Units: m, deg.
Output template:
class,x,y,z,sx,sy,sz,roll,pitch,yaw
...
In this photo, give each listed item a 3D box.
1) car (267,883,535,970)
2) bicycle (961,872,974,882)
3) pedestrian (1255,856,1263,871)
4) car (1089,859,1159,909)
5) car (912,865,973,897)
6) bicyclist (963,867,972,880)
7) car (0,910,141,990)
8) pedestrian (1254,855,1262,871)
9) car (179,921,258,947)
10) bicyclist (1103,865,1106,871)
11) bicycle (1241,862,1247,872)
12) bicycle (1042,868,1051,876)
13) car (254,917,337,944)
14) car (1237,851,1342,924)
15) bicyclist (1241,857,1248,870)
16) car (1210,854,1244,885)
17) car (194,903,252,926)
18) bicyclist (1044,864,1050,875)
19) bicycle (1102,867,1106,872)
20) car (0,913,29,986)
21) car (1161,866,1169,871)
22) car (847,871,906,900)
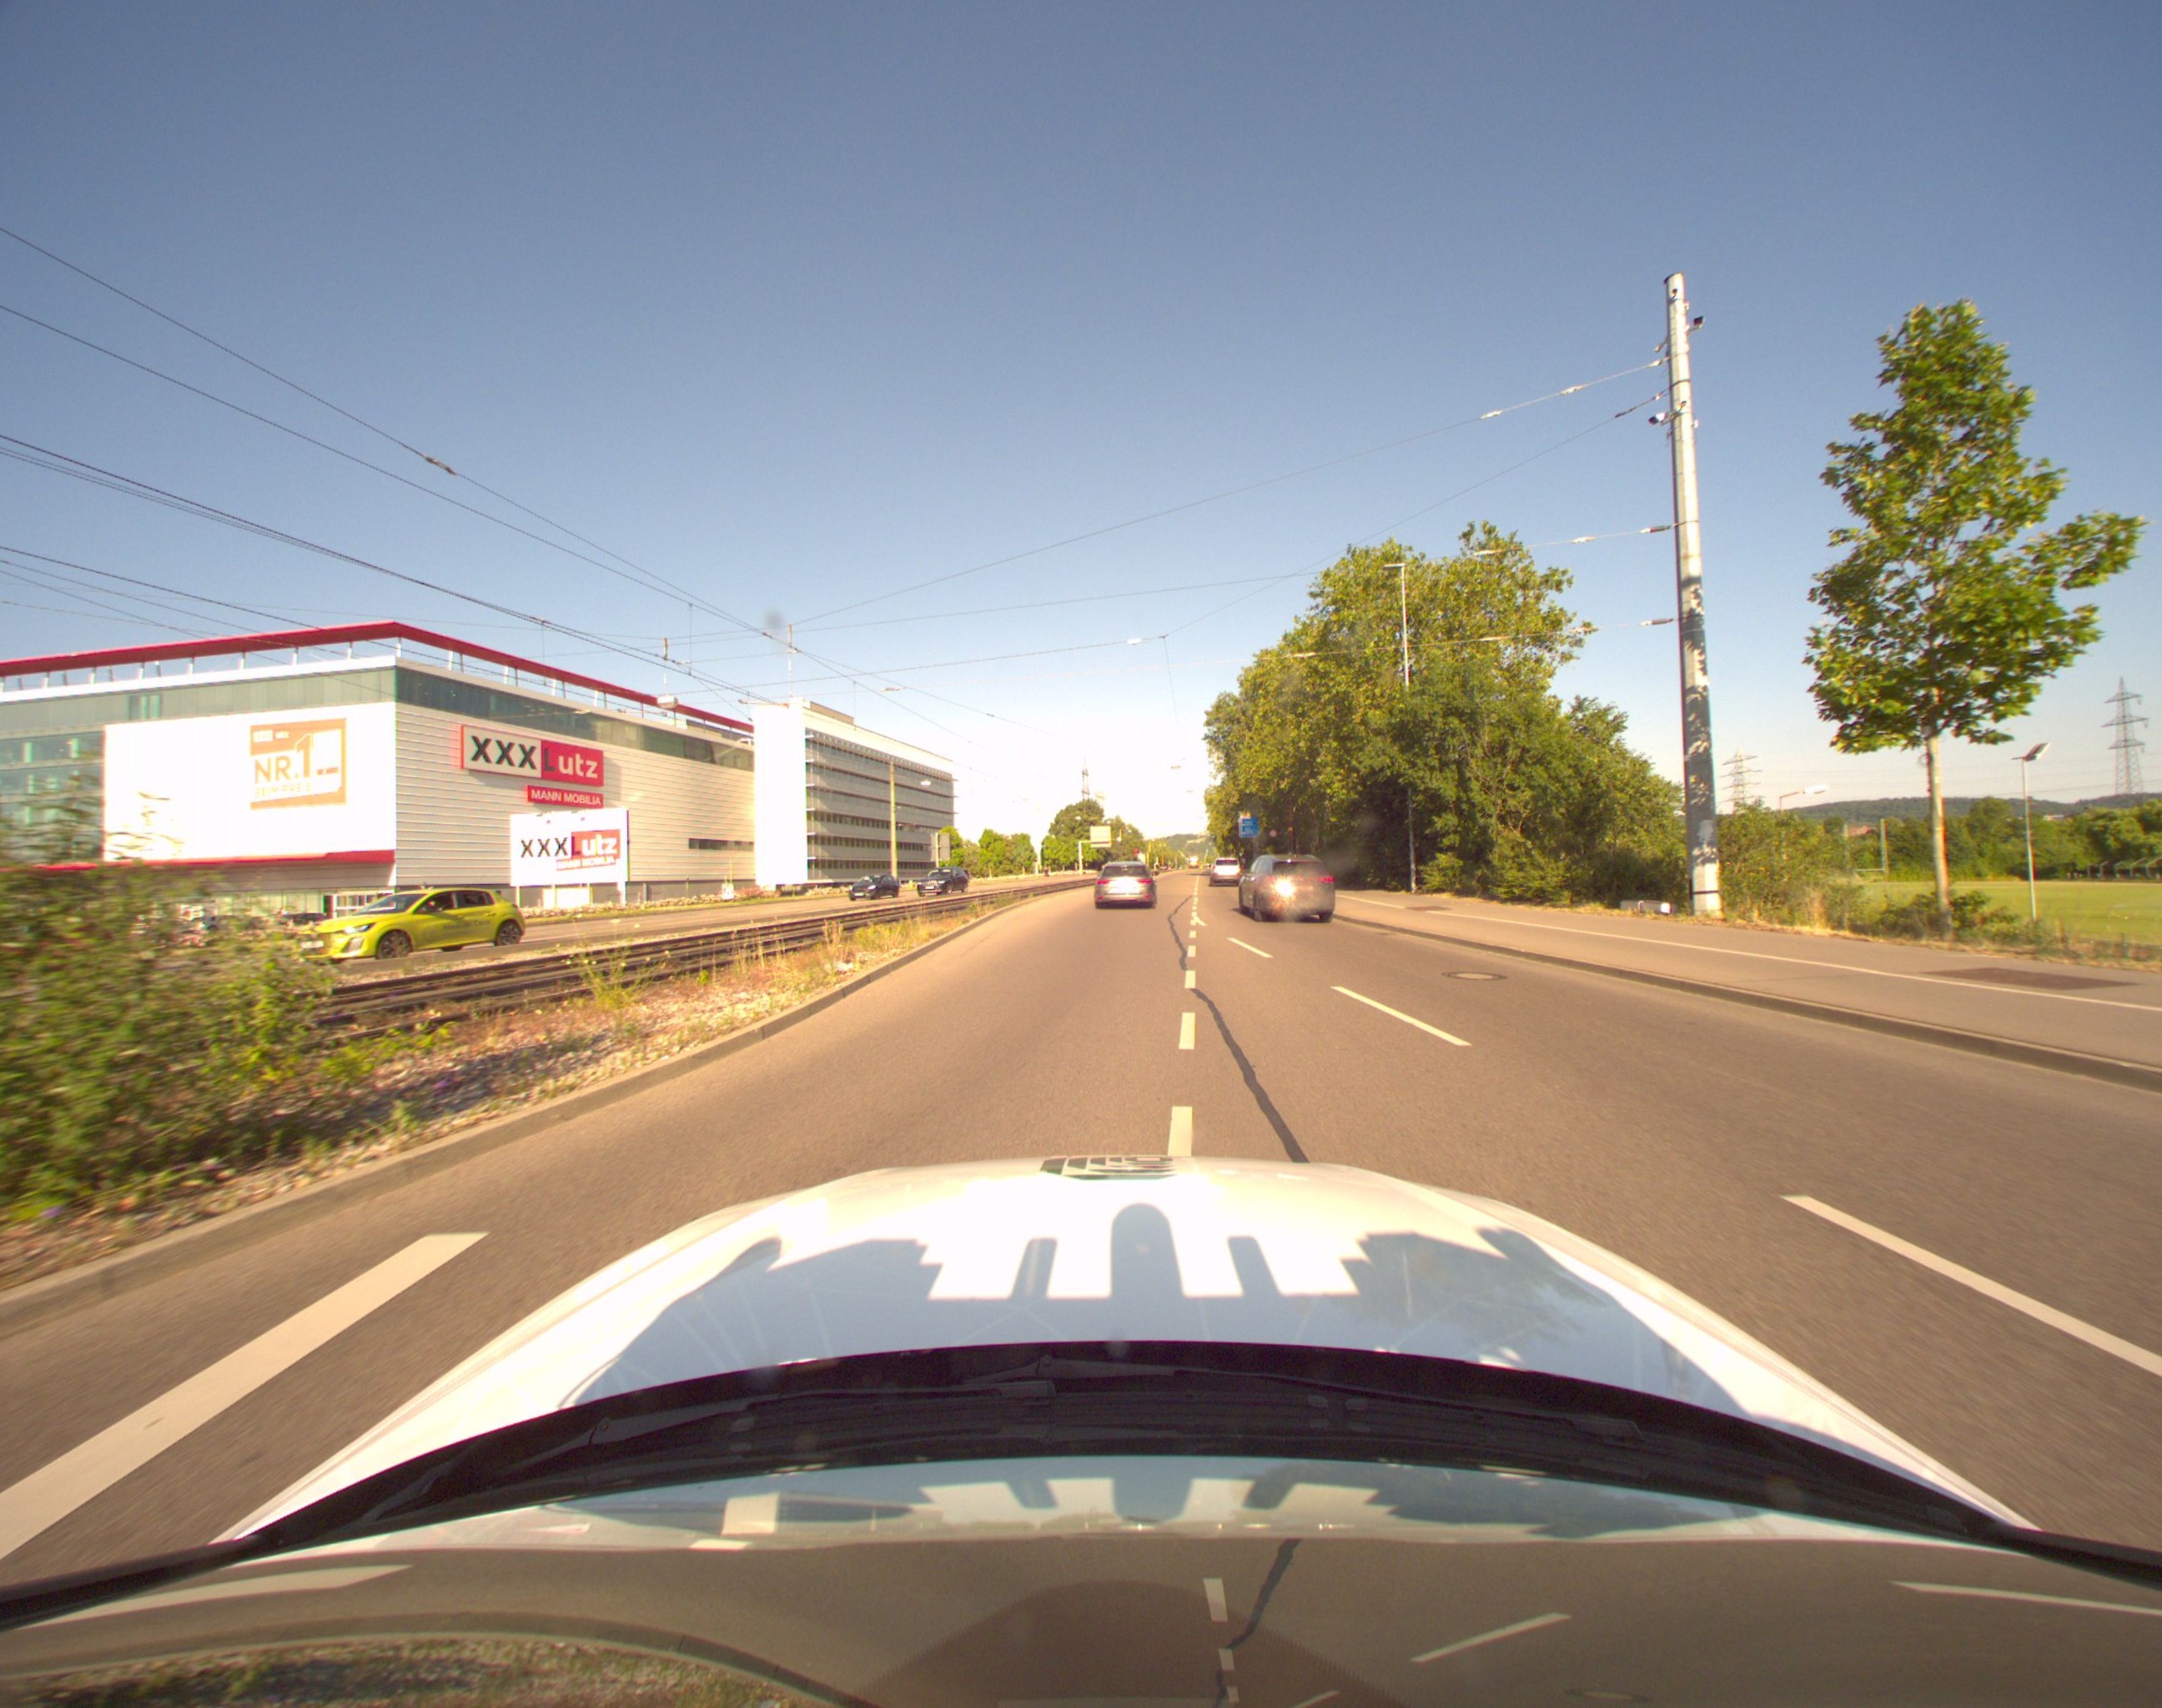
class,x,y,z,sx,sy,sz,roll,pitch,yaw
car,-14.135,1.441,17.290,1.772,1.447,4.119,-3,-1,10
bicycle,-12.881,2.662,92.661,0.699,1.073,2.036,0,0,16
pedestrian,18.906,0.998,86.348,0.719,1.480,0.724,-3,-1,9
car,1.480,0.896,26.178,1.855,1.467,4.676,0,-1,8
car,-8.147,1.549,48.384,1.981,1.655,4.672,-3,-1,10
bicyclist,-12.925,2.222,92.500,0.699,1.512,0.974,0,-1,16
car,-22.407,2.031,16.357,1.919,1.476,4.151,-5,-2,18
pedestrian,19.086,0.966,87.769,0.718,1.708,0.815,-3,-1,9
car,-70.727,6.532,66.849,1.910,1.702,4.010,0,0,9
bicyclist,4.916,2.920,171.020,0.621,1.374,0.882,0,-1,10
bicycle,19.233,1.512,95.957,0.618,1.120,1.817,-3,-1,9
bicycle,-5.167,2.727,123.757,0.656,1.151,2.031,0,0,19
car,-62.373,6.043,64.785,1.910,1.702,4.459,0,0,9
car,5.200,0.772,20.899,1.836,1.661,4.444,-1,0,4
bicyclist,19.236,1.059,95.941,0.681,1.509,0.893,-1,-1,9
car,8.609,0.886,48.231,1.872,1.796,4.010,0,0,9
car,-78.431,5.468,74.475,1.496,1.855,3.300,0,0,12
bicyclist,-5.159,2.316,123.777,0.656,1.623,0.805,0,-1,19
bicycle,4.918,3.296,171.012,0.621,1.059,1.708,0,0,10
car,-26.284,2.273,17.582,1.804,1.643,4.023,-4,-1,24
car,26.432,4.493,255.695,2.027,1.503,4.901,-2,-1,10
car,-11.737,1.799,47.001,1.846,1.461,4.147,-2,-1,8
